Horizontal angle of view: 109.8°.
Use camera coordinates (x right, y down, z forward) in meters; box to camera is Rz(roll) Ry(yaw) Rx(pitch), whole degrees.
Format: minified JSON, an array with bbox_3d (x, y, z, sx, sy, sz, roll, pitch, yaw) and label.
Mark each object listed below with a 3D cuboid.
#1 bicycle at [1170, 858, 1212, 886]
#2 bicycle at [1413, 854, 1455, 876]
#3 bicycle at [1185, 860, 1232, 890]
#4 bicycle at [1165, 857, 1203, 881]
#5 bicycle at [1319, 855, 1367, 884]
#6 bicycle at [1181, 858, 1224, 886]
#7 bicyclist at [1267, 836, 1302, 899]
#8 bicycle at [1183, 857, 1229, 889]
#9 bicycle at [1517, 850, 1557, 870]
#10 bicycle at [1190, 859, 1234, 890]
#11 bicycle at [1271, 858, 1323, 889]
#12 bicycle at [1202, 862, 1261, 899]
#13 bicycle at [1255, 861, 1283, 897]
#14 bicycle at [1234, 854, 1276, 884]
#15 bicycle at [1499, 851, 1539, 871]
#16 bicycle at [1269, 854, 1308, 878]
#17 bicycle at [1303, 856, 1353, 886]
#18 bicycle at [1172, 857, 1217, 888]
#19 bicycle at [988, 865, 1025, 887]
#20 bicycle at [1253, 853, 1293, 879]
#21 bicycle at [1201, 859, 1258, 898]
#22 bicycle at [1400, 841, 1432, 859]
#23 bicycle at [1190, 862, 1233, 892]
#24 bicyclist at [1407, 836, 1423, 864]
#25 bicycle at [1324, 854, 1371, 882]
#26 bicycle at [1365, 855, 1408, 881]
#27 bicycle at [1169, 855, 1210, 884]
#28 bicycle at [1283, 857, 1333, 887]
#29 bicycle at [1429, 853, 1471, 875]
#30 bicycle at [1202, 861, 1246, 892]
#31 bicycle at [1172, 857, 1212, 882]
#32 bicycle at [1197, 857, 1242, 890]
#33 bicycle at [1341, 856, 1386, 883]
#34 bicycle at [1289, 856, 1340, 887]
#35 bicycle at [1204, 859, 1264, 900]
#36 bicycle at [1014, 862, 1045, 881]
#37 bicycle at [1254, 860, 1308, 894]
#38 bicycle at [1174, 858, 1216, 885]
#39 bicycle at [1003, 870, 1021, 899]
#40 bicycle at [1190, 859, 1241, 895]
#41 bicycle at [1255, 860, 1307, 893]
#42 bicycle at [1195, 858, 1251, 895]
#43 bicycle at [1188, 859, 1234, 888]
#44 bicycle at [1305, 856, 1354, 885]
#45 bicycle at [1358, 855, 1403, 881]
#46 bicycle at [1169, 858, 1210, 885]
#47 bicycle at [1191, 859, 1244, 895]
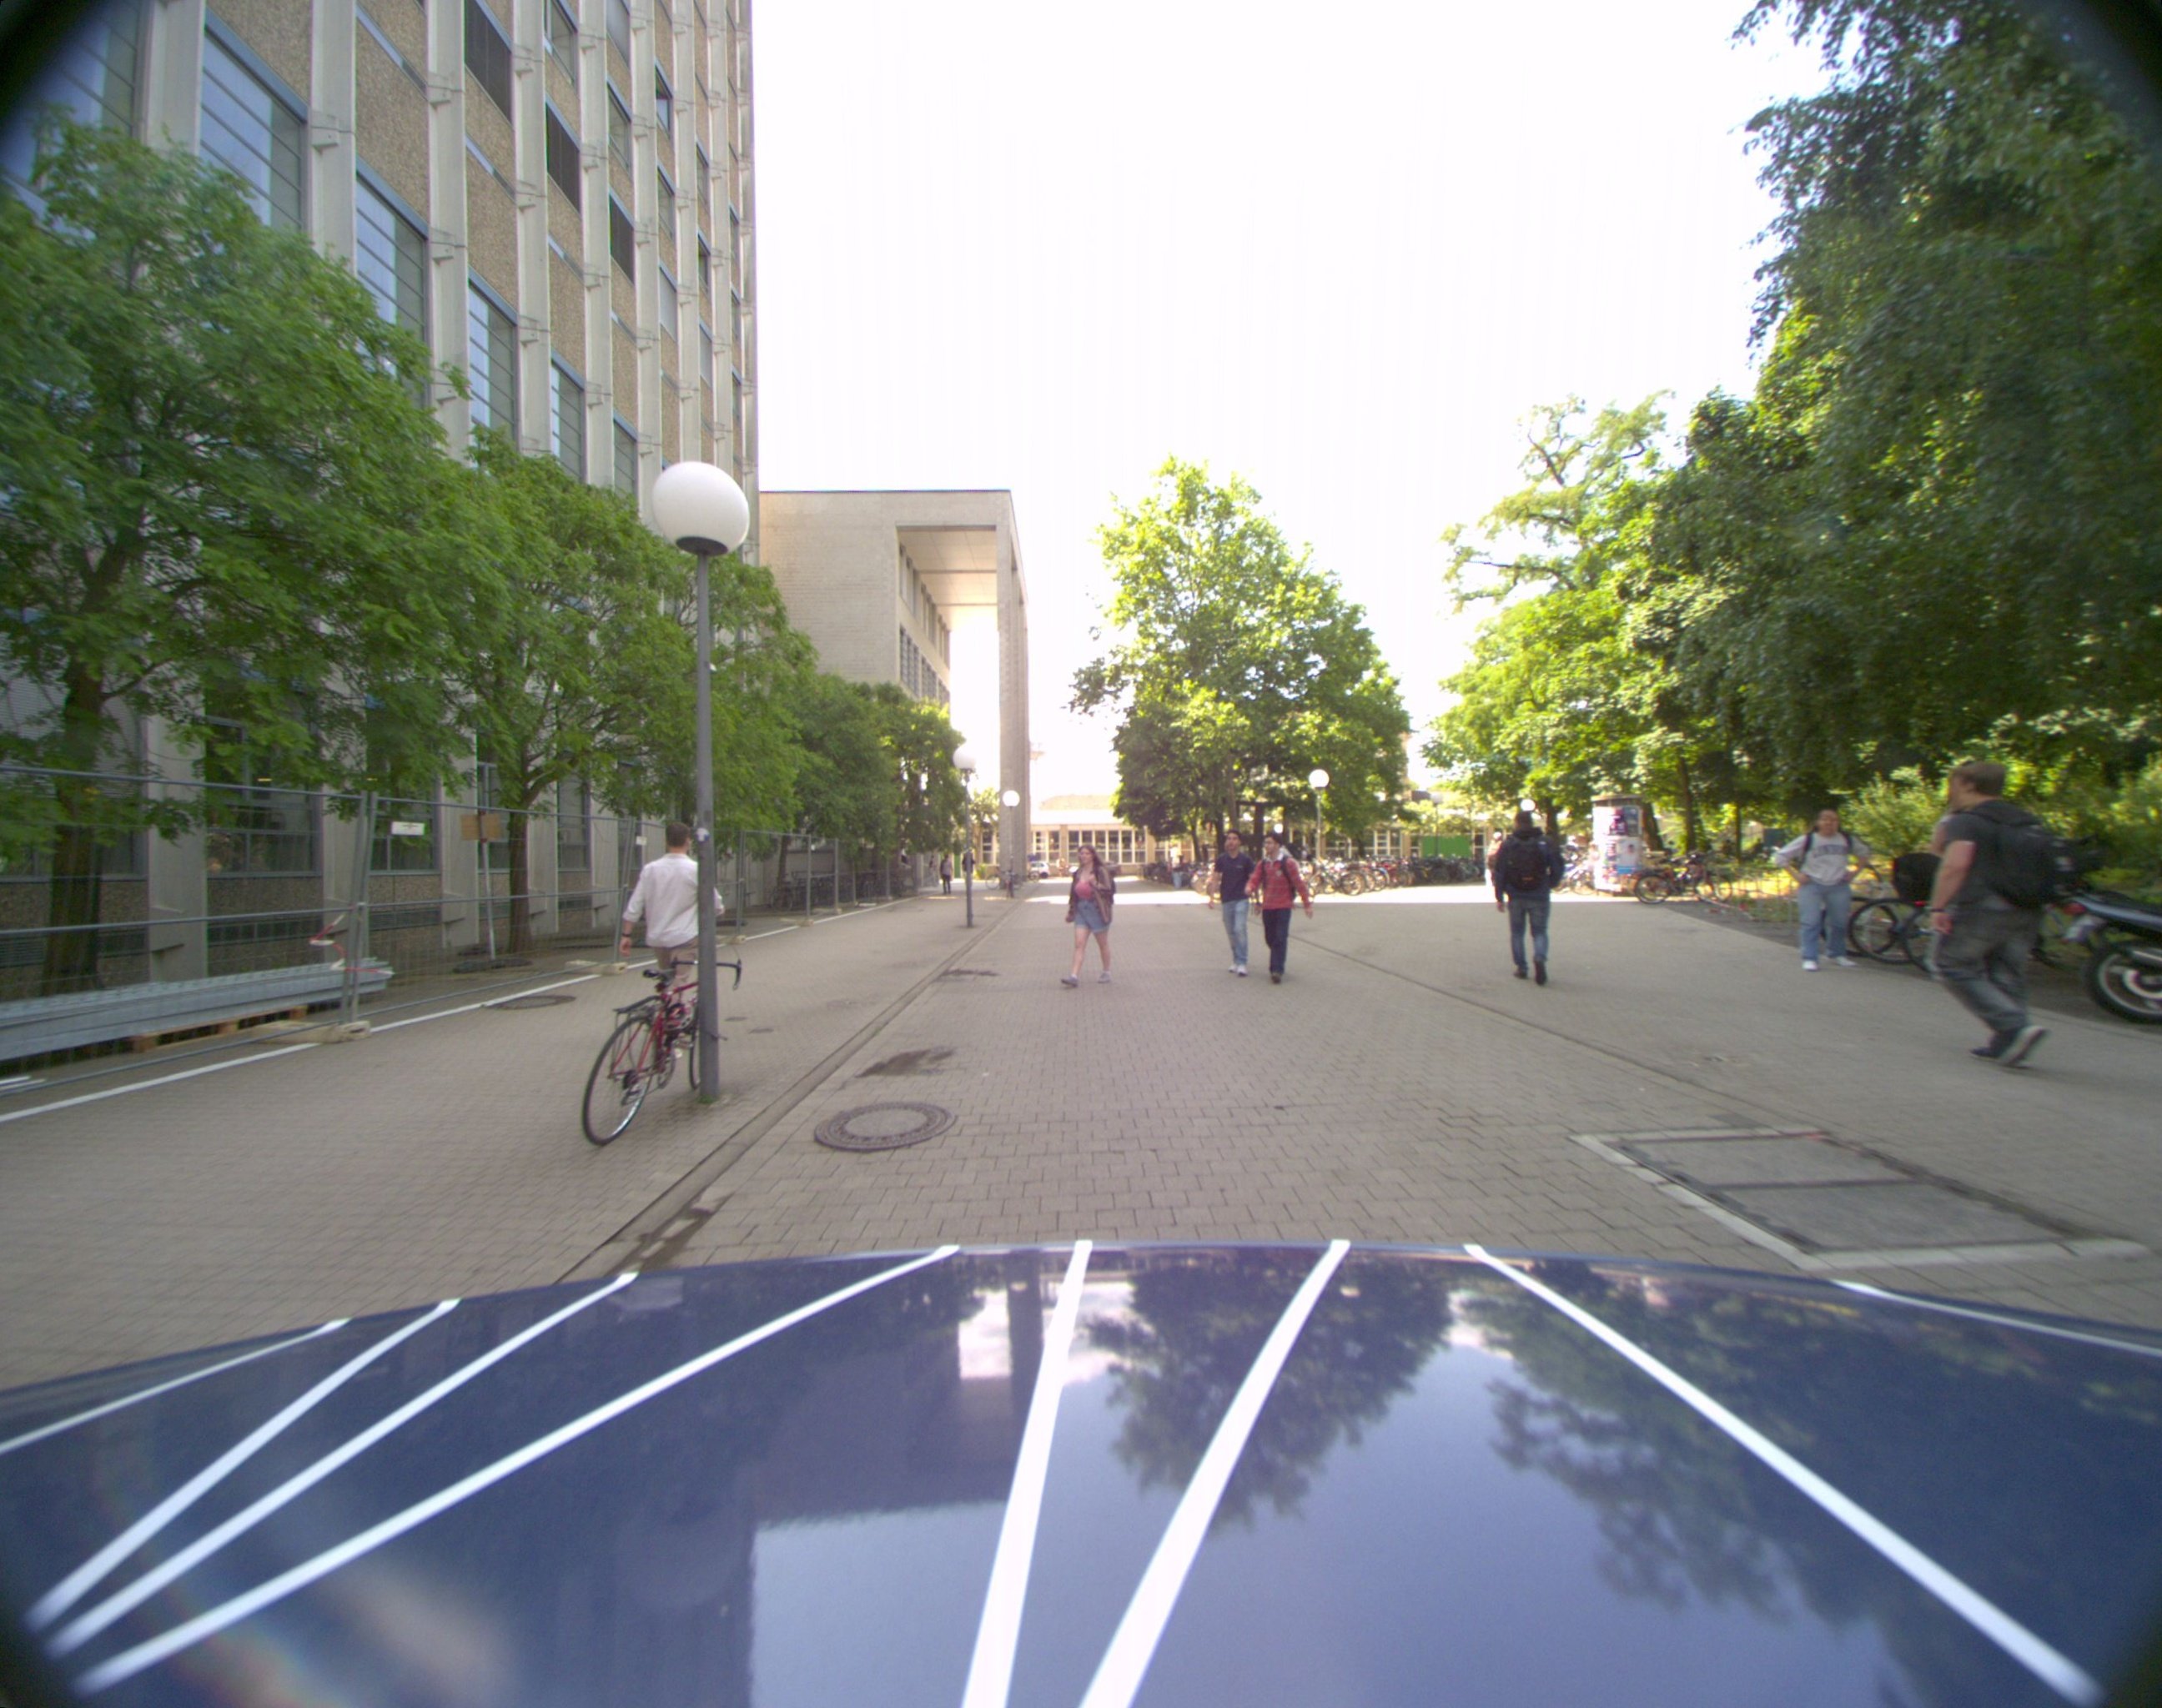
[{"bbox_3d":[4.770,0.783,32.955,1.700,1.139,0.473,-2,1,-12],"label":"bicycle"},{"bbox_3d":[17.346,0.534,37.362,0.475,1.077,1.854,-2,1,-38],"label":"bicycle"},{"bbox_3d":[4.974,0.791,29.616,1.700,1.101,0.582,-2,1,-12],"label":"bicycle"},{"bbox_3d":[4.989,0.722,36.717,1.740,1.120,0.497,-2,1,-5],"label":"bicycle"},{"bbox_3d":[10.244,0.617,29.691,1.695,1.077,0.475,-1,1,35],"label":"bicycle"},{"bbox_3d":[5.149,0.759,32.128,1.700,1.101,0.473,-2,1,-12],"label":"bicycle"},{"bbox_3d":[5.191,0.337,19.416,0.721,1.559,0.596,-1,1,3],"label":"bicyclist"},{"bbox_3d":[4.960,0.742,30.144,1.700,1.181,0.473,-2,1,-12],"label":"bicycle"},{"bbox_3d":[25.540,0.359,42.537,0.475,1.077,1.854,-2,1,-38],"label":"bicycle"},{"bbox_3d":[4.979,0.779,28.885,1.702,1.101,0.473,-2,1,-28],"label":"bicycle"},{"bbox_3d":[7.694,0.696,27.060,1.695,1.077,0.475,-1,1,35],"label":"bicycle"},{"bbox_3d":[4.644,0.817,23.505,1.699,1.085,0.474,-2,1,-6],"label":"bicycle"},{"bbox_3d":[5.968,0.782,24.194,0.508,1.077,1.700,-1,0,3],"label":"bicycle"},{"bbox_3d":[7.516,0.649,32.906,1.700,1.213,0.502,-2,1,-12],"label":"bicycle"},{"bbox_3d":[24.257,0.384,42.078,0.475,1.077,1.854,-2,1,-38],"label":"bicycle"},{"bbox_3d":[9.968,0.579,36.521,1.695,1.101,0.504,-1,1,36],"label":"bicycle"},{"bbox_3d":[9.226,0.634,28.391,1.695,1.077,0.475,-1,1,35],"label":"bicycle"},{"bbox_3d":[4.706,0.760,31.524,1.699,1.191,0.536,-2,1,-9],"label":"bicycle"},{"bbox_3d":[-3.506,1.033,35.770,1.744,1.033,0.449,0,-1,-5],"label":"bicycle"},{"bbox_3d":[8.926,0.553,35.339,1.695,1.193,0.577,-1,1,36],"label":"bicycle"},{"bbox_3d":[4.731,0.770,24.266,1.699,1.161,0.474,-2,1,-6],"label":"bicycle"},{"bbox_3d":[23.240,-0.263,52.753,1.883,1.164,0.806,-3,-1,14],"label":"bicycle"},{"bbox_3d":[4.758,0.821,27.619,1.702,1.013,0.473,-2,1,-35],"label":"bicycle"},{"bbox_3d":[23.163,-0.272,52.762,0.866,1.881,0.806,0,1,13],"label":"bicyclist"},{"bbox_3d":[10.765,0.570,30.677,1.695,1.077,0.475,-1,1,35],"label":"bicycle"},{"bbox_3d":[13.322,0.605,33.136,0.475,1.077,1.695,-2,1,-38],"label":"bicycle"},{"bbox_3d":[4.844,0.705,33.959,1.740,1.228,0.496,-2,1,-8],"label":"bicycle"},{"bbox_3d":[8.427,0.668,28.251,1.695,1.077,0.475,-1,1,31],"label":"bicycle"},{"bbox_3d":[18.454,0.484,38.008,0.475,1.077,1.854,-2,1,-38],"label":"bicycle"},{"bbox_3d":[5.134,0.790,27.269,1.702,1.055,0.473,-2,1,-35],"label":"bicycle"},{"bbox_3d":[5.153,0.732,35.214,1.741,1.101,0.496,-2,1,-13],"label":"bicycle"},{"bbox_3d":[5.196,0.722,28.473,1.702,1.151,0.473,-2,1,-28],"label":"bicycle"},{"bbox_3d":[11.638,0.642,31.323,1.695,1.077,0.475,-1,1,44],"label":"bicycle"},{"bbox_3d":[8.484,0.641,27.639,1.695,1.077,0.475,-1,1,31],"label":"bicycle"},{"bbox_3d":[4.622,0.767,23.035,1.699,1.152,0.474,-2,1,-9],"label":"bicycle"},{"bbox_3d":[-3.264,1.105,48.123,1.886,1.157,0.605,1,-1,-5],"label":"bicycle"},{"bbox_3d":[6.657,0.757,25.315,1.697,1.077,0.474,-1,1,12],"label":"bicycle"},{"bbox_3d":[4.875,0.758,32.498,1.700,1.101,0.473,-2,1,-12],"label":"bicycle"},{"bbox_3d":[-2.621,1.137,29.094,0.538,1.033,1.858,0,0,-1],"label":"bicycle"},{"bbox_3d":[4.661,0.788,26.371,1.701,1.161,0.473,-2,1,-17],"label":"bicycle"},{"bbox_3d":[6.939,0.783,26.391,1.696,1.077,0.474,-1,1,13],"label":"bicycle"},{"bbox_3d":[4.699,0.752,25.118,1.778,1.161,0.474,-1,1,12],"label":"bicycle"},{"bbox_3d":[5.245,0.767,30.699,1.700,1.101,0.565,-2,1,-12],"label":"bicycle"},{"bbox_3d":[9.426,0.629,28.834,1.695,1.077,0.475,-1,1,35],"label":"bicycle"},{"bbox_3d":[12.618,0.590,32.087,1.695,1.077,0.475,-1,1,44],"label":"bicycle"},{"bbox_3d":[4.782,0.762,33.480,1.700,1.101,0.496,-2,1,-11],"label":"bicycle"},{"bbox_3d":[4.636,0.770,25.828,1.700,1.161,0.473,-2,1,-13],"label":"bicycle"}]
